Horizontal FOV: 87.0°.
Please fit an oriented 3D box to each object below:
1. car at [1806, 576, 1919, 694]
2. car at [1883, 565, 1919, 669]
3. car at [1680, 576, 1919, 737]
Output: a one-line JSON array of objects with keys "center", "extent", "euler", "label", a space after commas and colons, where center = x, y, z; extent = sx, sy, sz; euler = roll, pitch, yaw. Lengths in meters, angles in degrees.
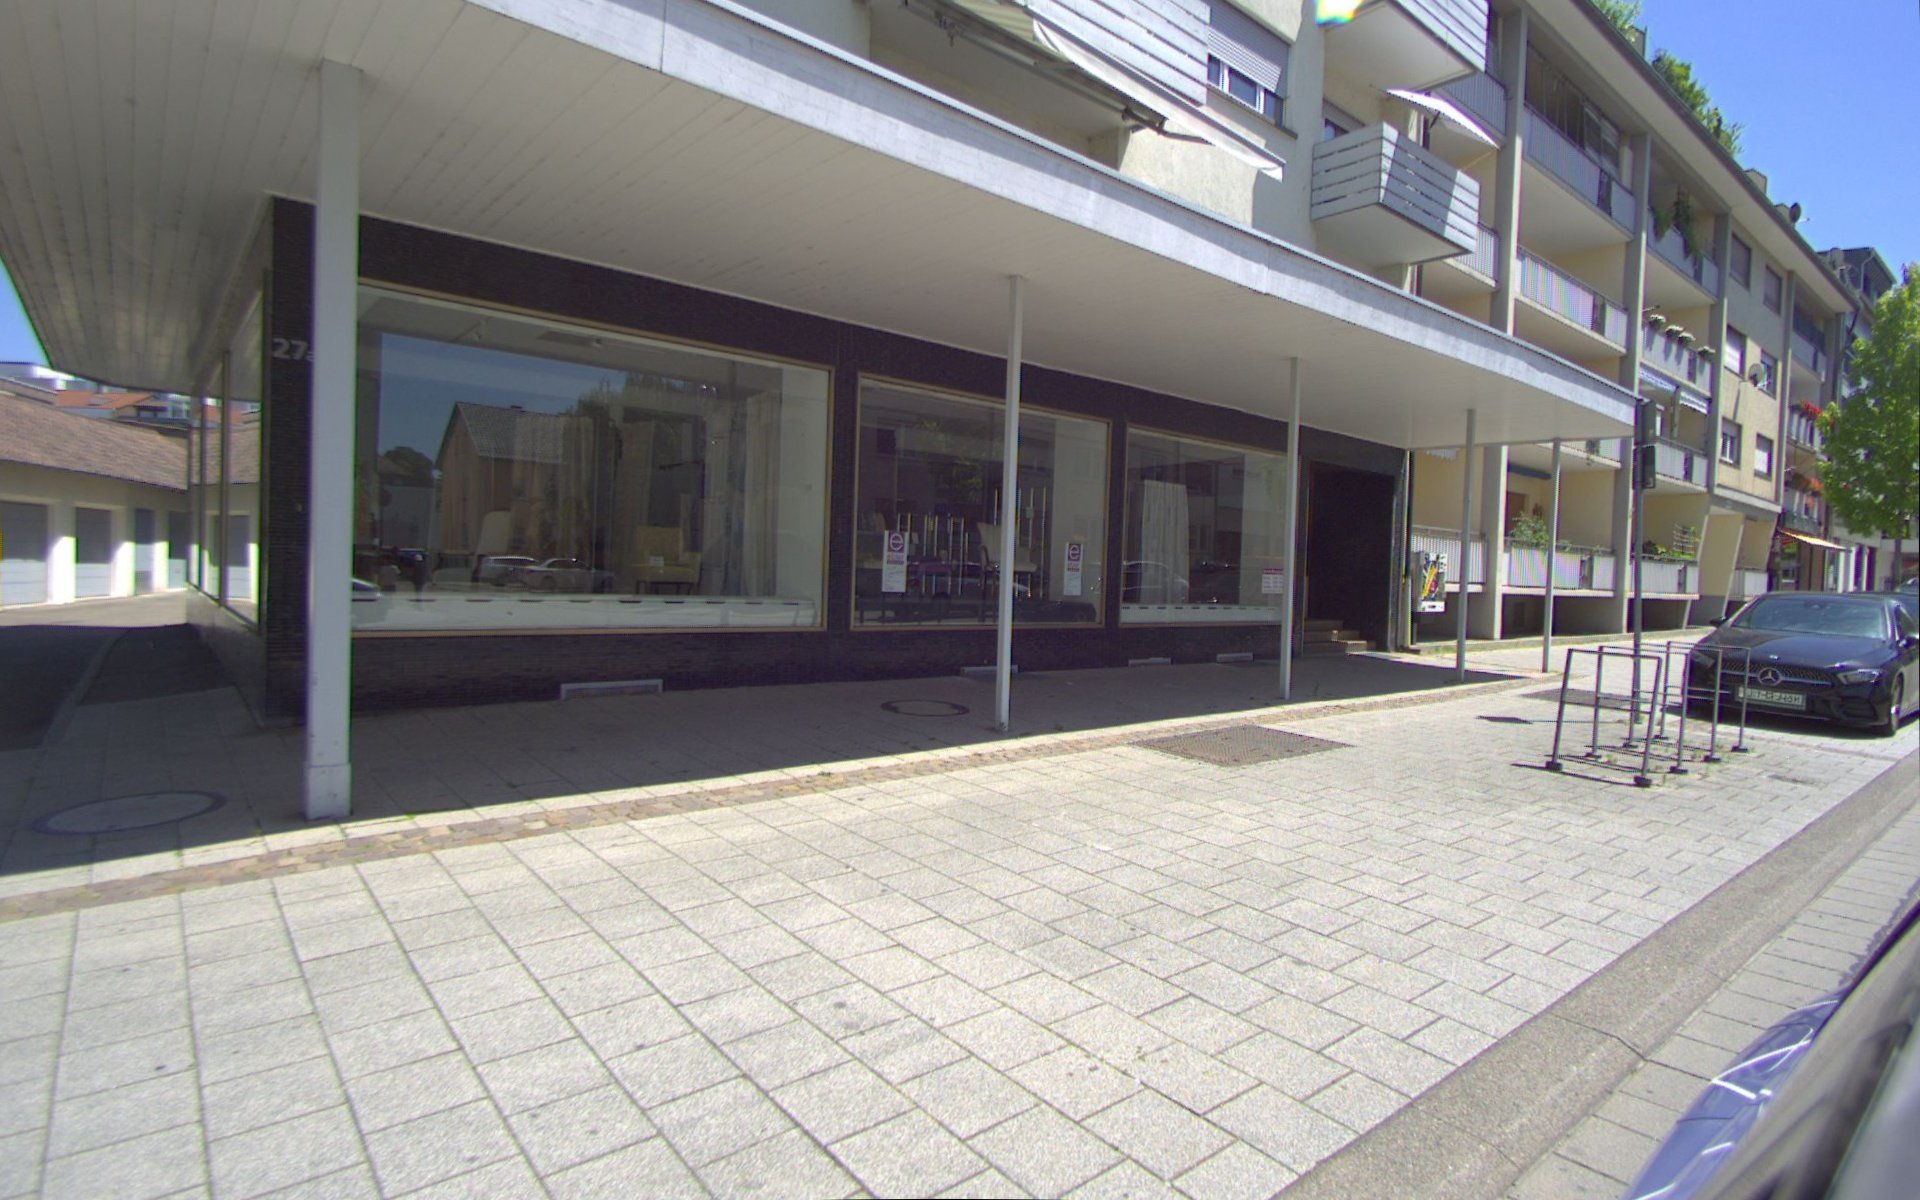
[{"center": [14.063, 0.454, 14.941], "extent": [4.042, 1.526, 1.731], "euler": [0, 3, -41], "label": "car"}, {"center": [18.451, 0.314, 18.545], "extent": [4.042, 1.784, 1.731], "euler": [0, 3, -41], "label": "car"}, {"center": [9.962, 0.512, 11.576], "extent": [4.042, 1.403, 1.818], "euler": [0, 5, -41], "label": "car"}]
